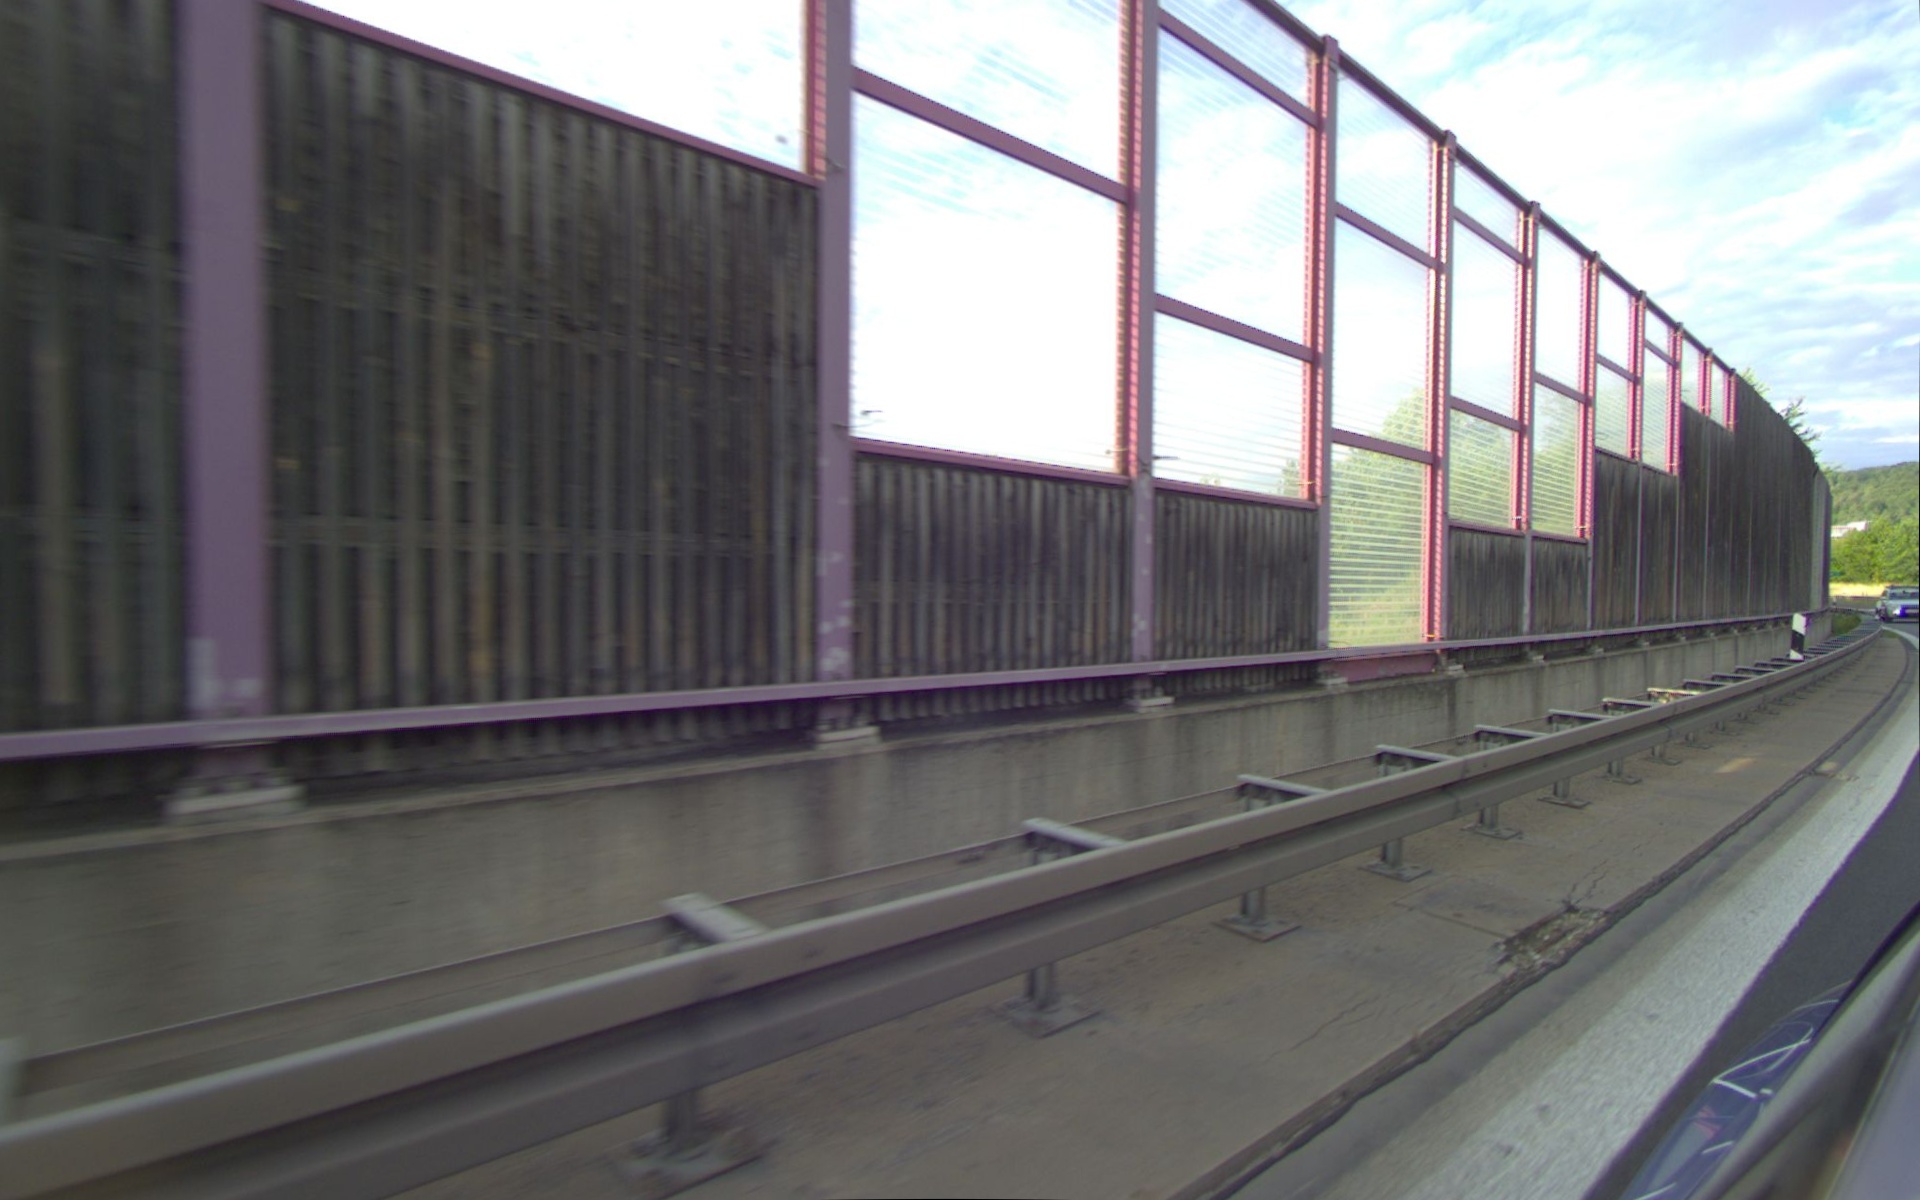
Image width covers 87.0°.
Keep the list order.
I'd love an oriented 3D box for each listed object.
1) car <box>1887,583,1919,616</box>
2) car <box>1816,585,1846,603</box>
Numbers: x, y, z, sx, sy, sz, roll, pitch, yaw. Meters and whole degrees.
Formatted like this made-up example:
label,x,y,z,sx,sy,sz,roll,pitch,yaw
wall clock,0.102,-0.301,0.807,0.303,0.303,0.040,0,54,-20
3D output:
label,x,y,z,sx,sy,sz,roll,pitch,yaw
car,50.788,-0.069,53.667,1.895,1.685,3.949,1,1,36
car,75.559,-0.560,87.827,1.611,1.478,3.616,0,2,36
